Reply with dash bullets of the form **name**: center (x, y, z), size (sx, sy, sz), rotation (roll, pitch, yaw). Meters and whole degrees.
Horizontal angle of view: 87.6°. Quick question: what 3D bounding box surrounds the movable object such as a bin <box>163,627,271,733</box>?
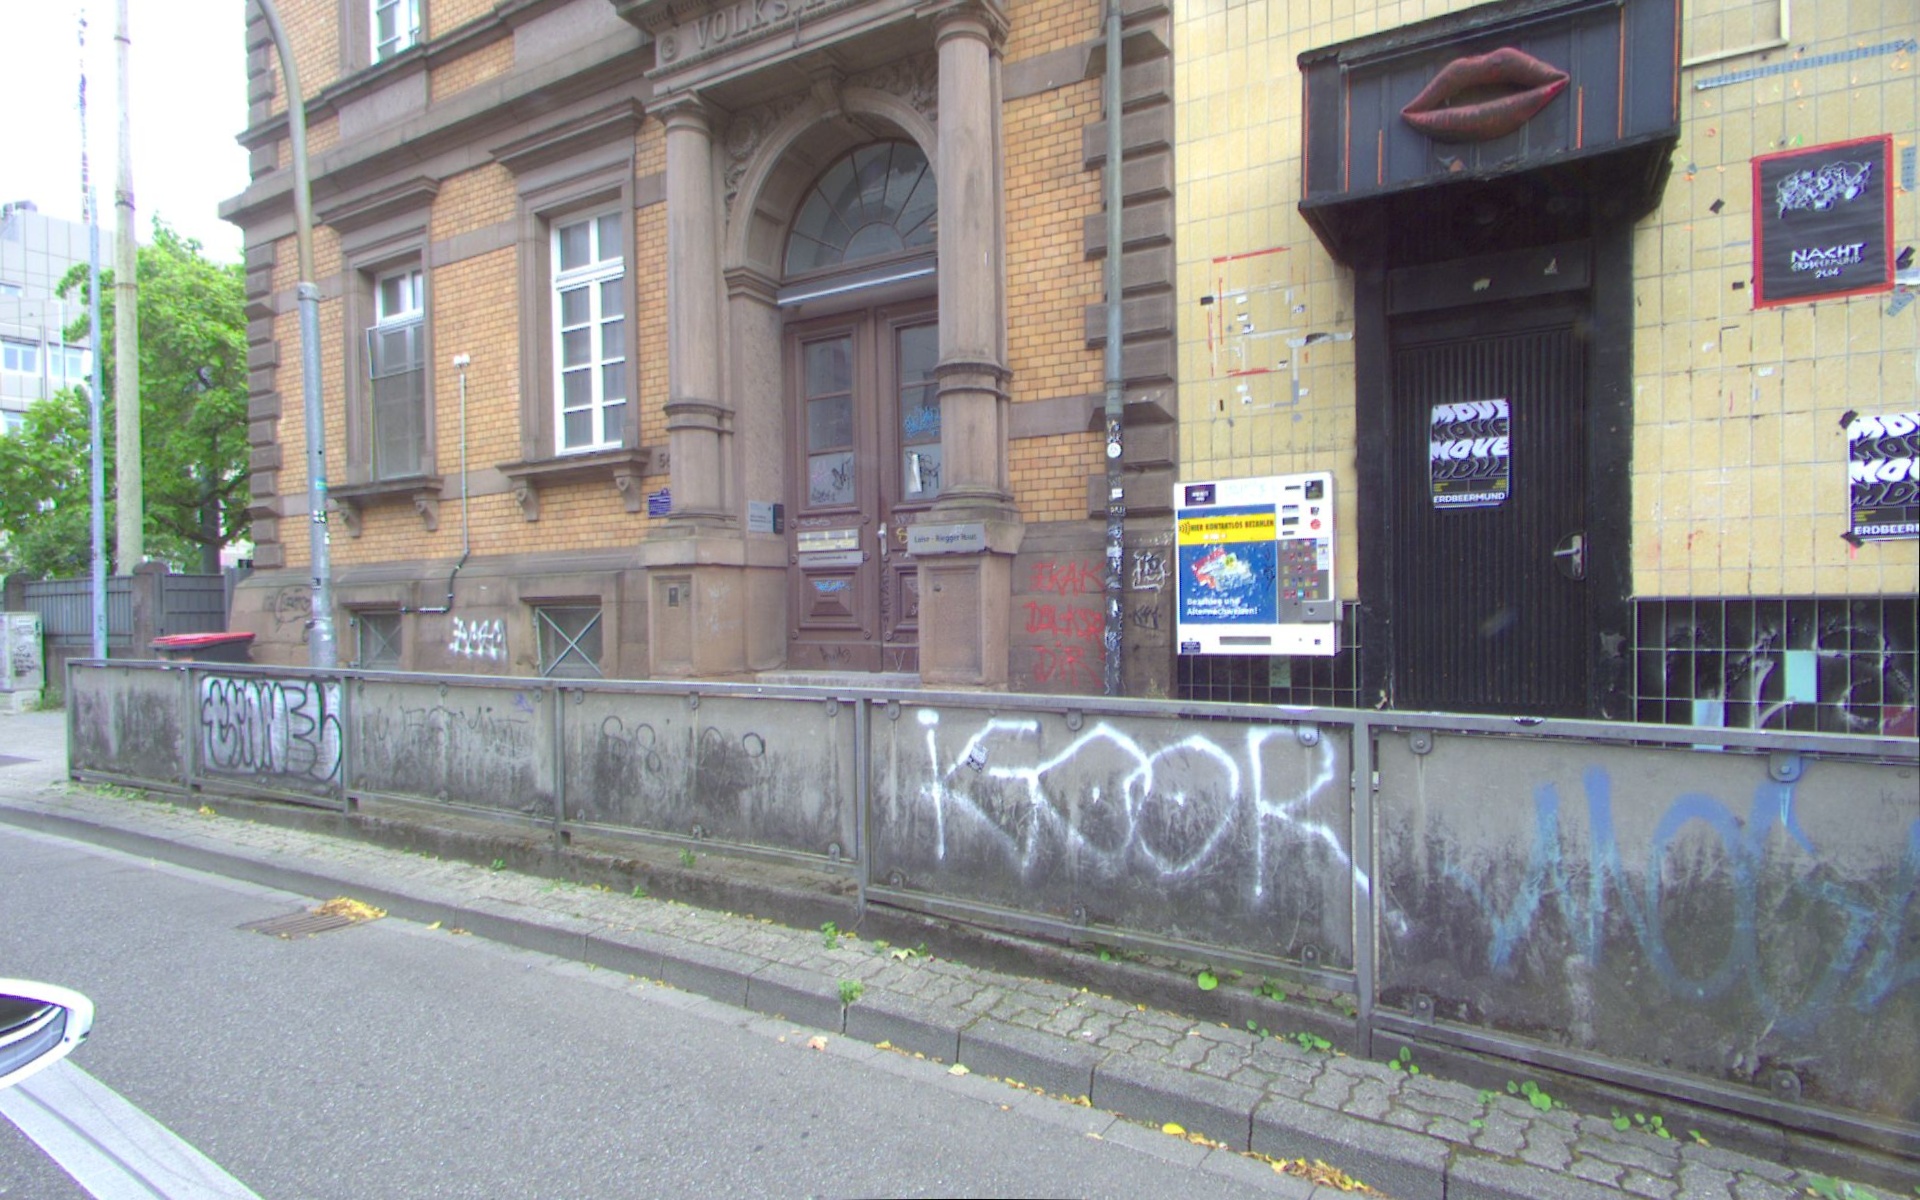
- **movable object such as a bin**: center (-8.330, 0.876, 11.238), size (0.690, 1.097, 0.662), rotation (-1, 4, 27)

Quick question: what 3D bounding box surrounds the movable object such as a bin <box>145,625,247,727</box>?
- **movable object such as a bin**: center (-8.895, 0.867, 11.666), size (0.667, 1.097, 0.650), rotation (-1, 4, 27)
